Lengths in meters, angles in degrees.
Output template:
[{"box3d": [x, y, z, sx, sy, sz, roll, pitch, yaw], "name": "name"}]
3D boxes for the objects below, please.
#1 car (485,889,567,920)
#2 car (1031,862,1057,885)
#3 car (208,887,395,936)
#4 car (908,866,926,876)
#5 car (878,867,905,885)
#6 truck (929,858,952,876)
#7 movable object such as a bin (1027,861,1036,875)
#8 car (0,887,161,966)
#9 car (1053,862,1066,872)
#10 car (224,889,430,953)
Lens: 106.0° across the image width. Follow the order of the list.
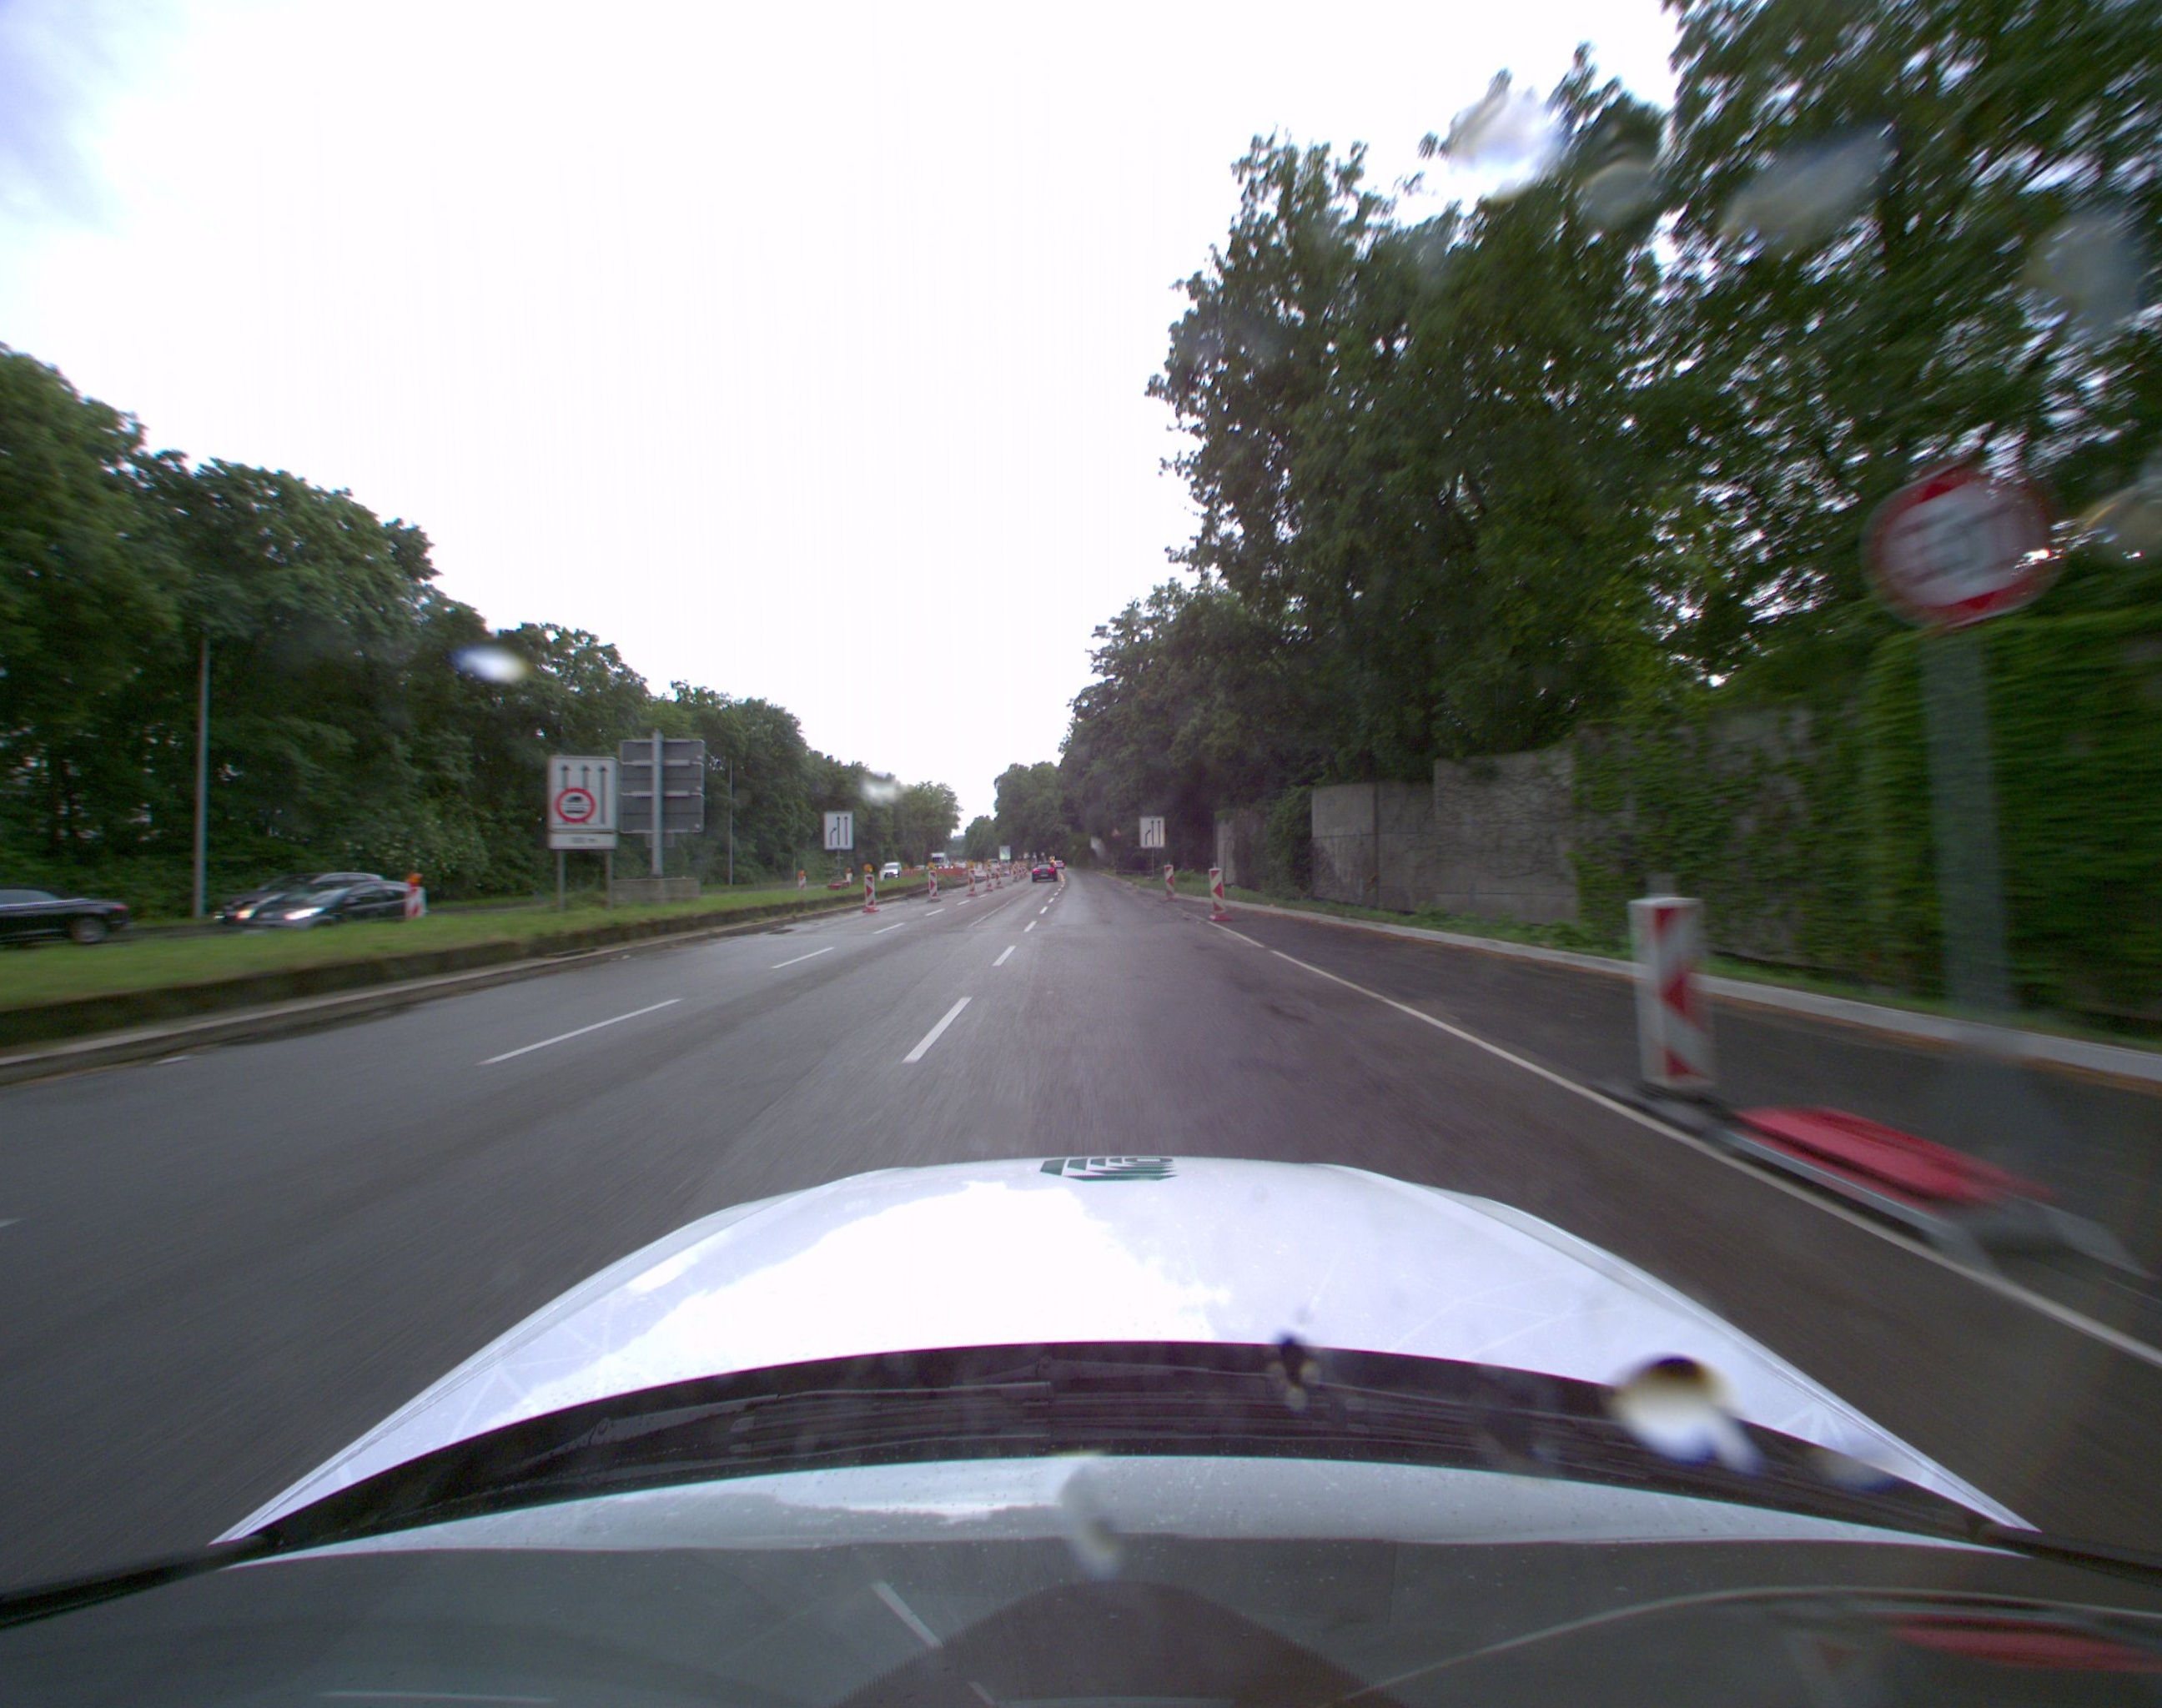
[{"box3d": [-22.183, 1.997, 32.670, 1.265, 1.085, 2.795, 0, 0, 3], "name": "car"}, {"box3d": [-2.752, 1.424, 61.142, 1.857, 1.491, 3.997, 0, 1, -2], "name": "car"}, {"box3d": [-22.555, 1.623, 23.791, 1.542, 1.200, 3.932, -1, -1, 3], "name": "car"}, {"box3d": [-23.598, 2.450, 117.495, 1.786, 1.425, 3.894, -2, -1, -1], "name": "car"}, {"box3d": [-20.439, 2.347, 87.950, 1.909, 1.781, 4.830, -1, 0, -1], "name": "car"}, {"box3d": [-26.076, 2.366, 151.062, 2.788, 3.148, 10.138, -2, -1, -2], "name": "truck"}, {"box3d": [-10.872, 3.036, 178.192, 1.745, 2.867, 3.525, -2, -1, -7], "name": "movable object such as a bin"}, {"box3d": [-22.818, 1.522, 17.001, 1.786, 1.523, 4.637, -1, -1, 3], "name": "car"}, {"box3d": [-3.805, 2.282, 141.420, 1.911, 1.598, 4.824, -1, 0, -5], "name": "car"}, {"box3d": [-16.722, 1.450, 18.277, 1.423, 1.200, 3.302, -1, -1, 3], "name": "car"}]
